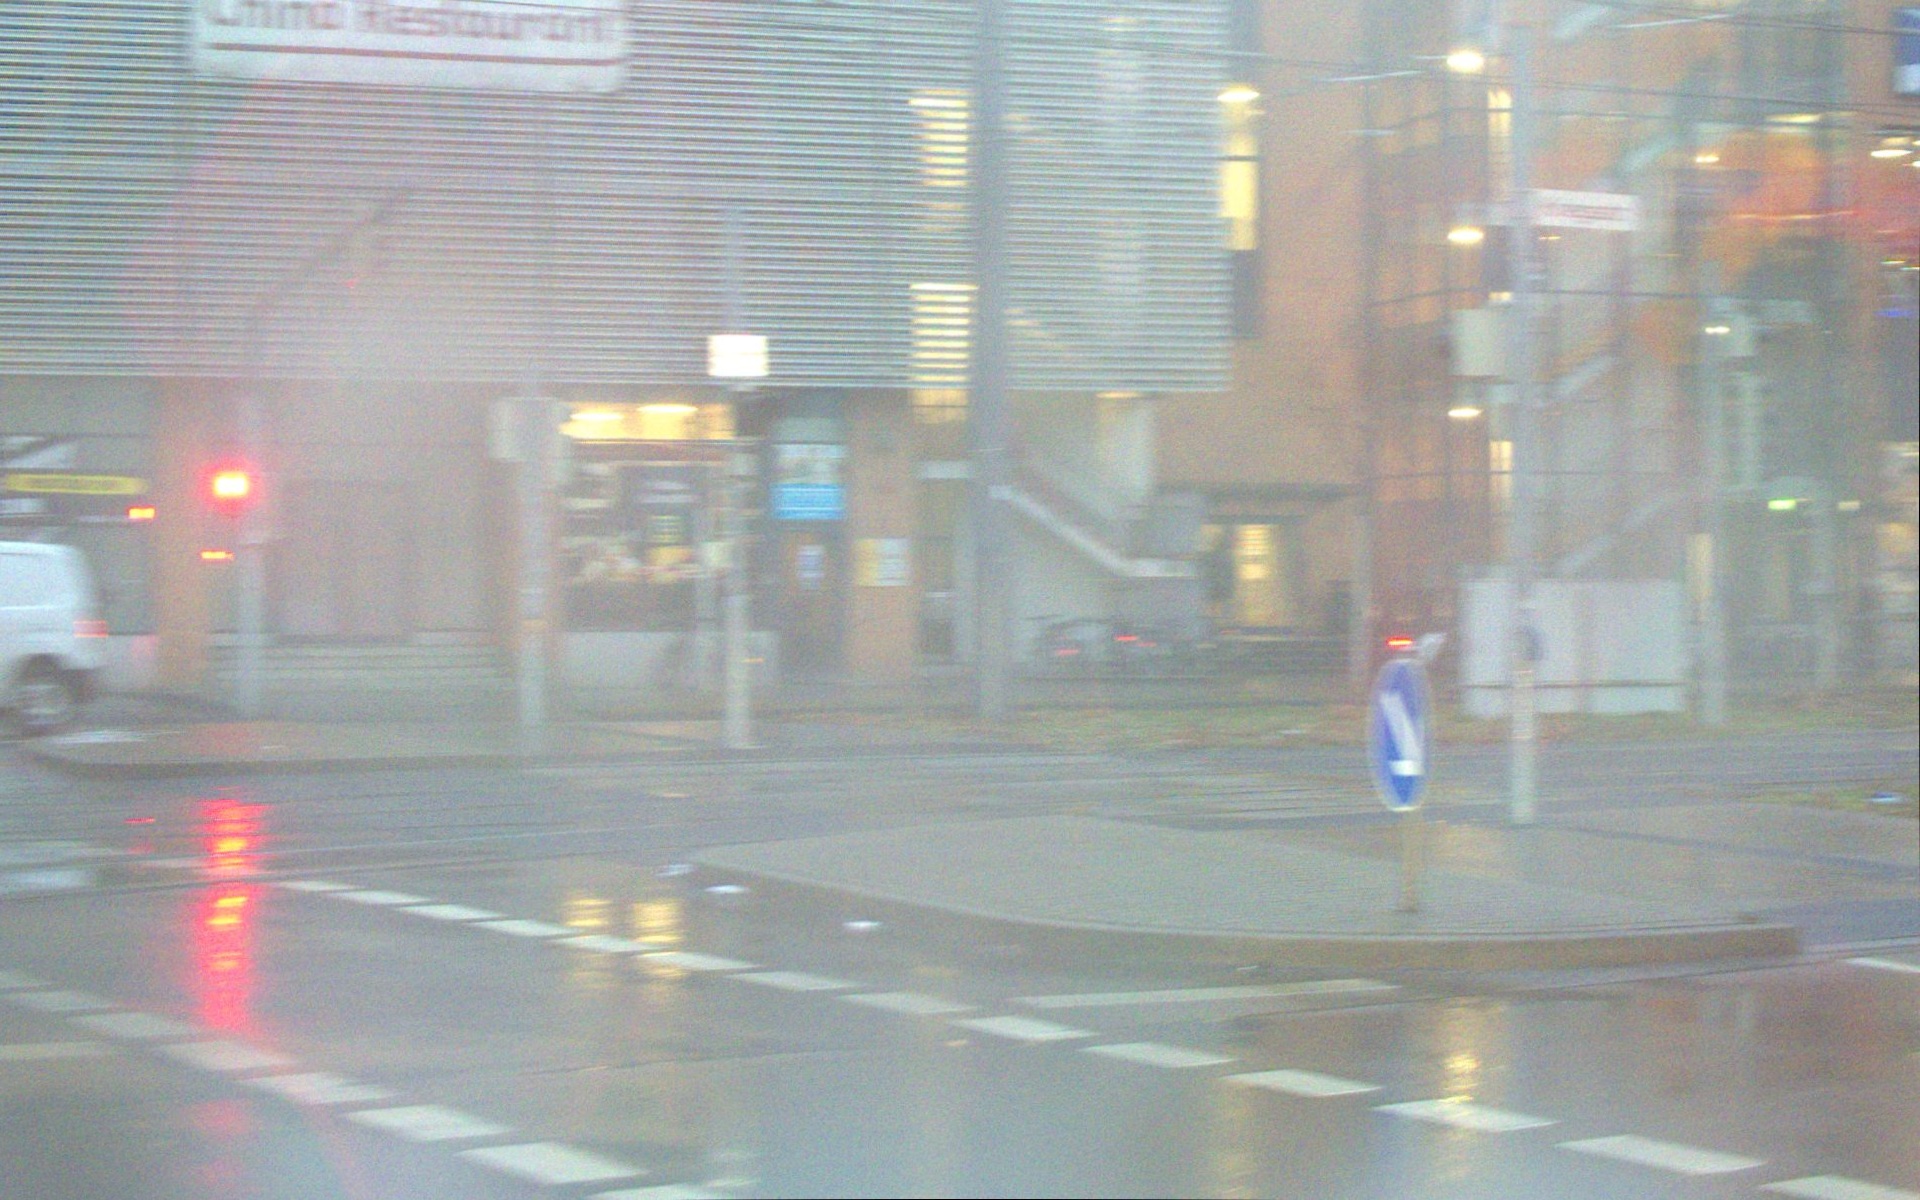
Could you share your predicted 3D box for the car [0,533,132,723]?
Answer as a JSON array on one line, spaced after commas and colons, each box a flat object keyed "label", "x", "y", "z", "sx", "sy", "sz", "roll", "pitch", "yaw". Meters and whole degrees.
[{"label": "car", "x": -10.045, "y": 0.254, "z": 31.127, "sx": 4.597, "sy": 1.713, "sz": 1.929, "roll": 0, "pitch": 0, "yaw": -42}]
